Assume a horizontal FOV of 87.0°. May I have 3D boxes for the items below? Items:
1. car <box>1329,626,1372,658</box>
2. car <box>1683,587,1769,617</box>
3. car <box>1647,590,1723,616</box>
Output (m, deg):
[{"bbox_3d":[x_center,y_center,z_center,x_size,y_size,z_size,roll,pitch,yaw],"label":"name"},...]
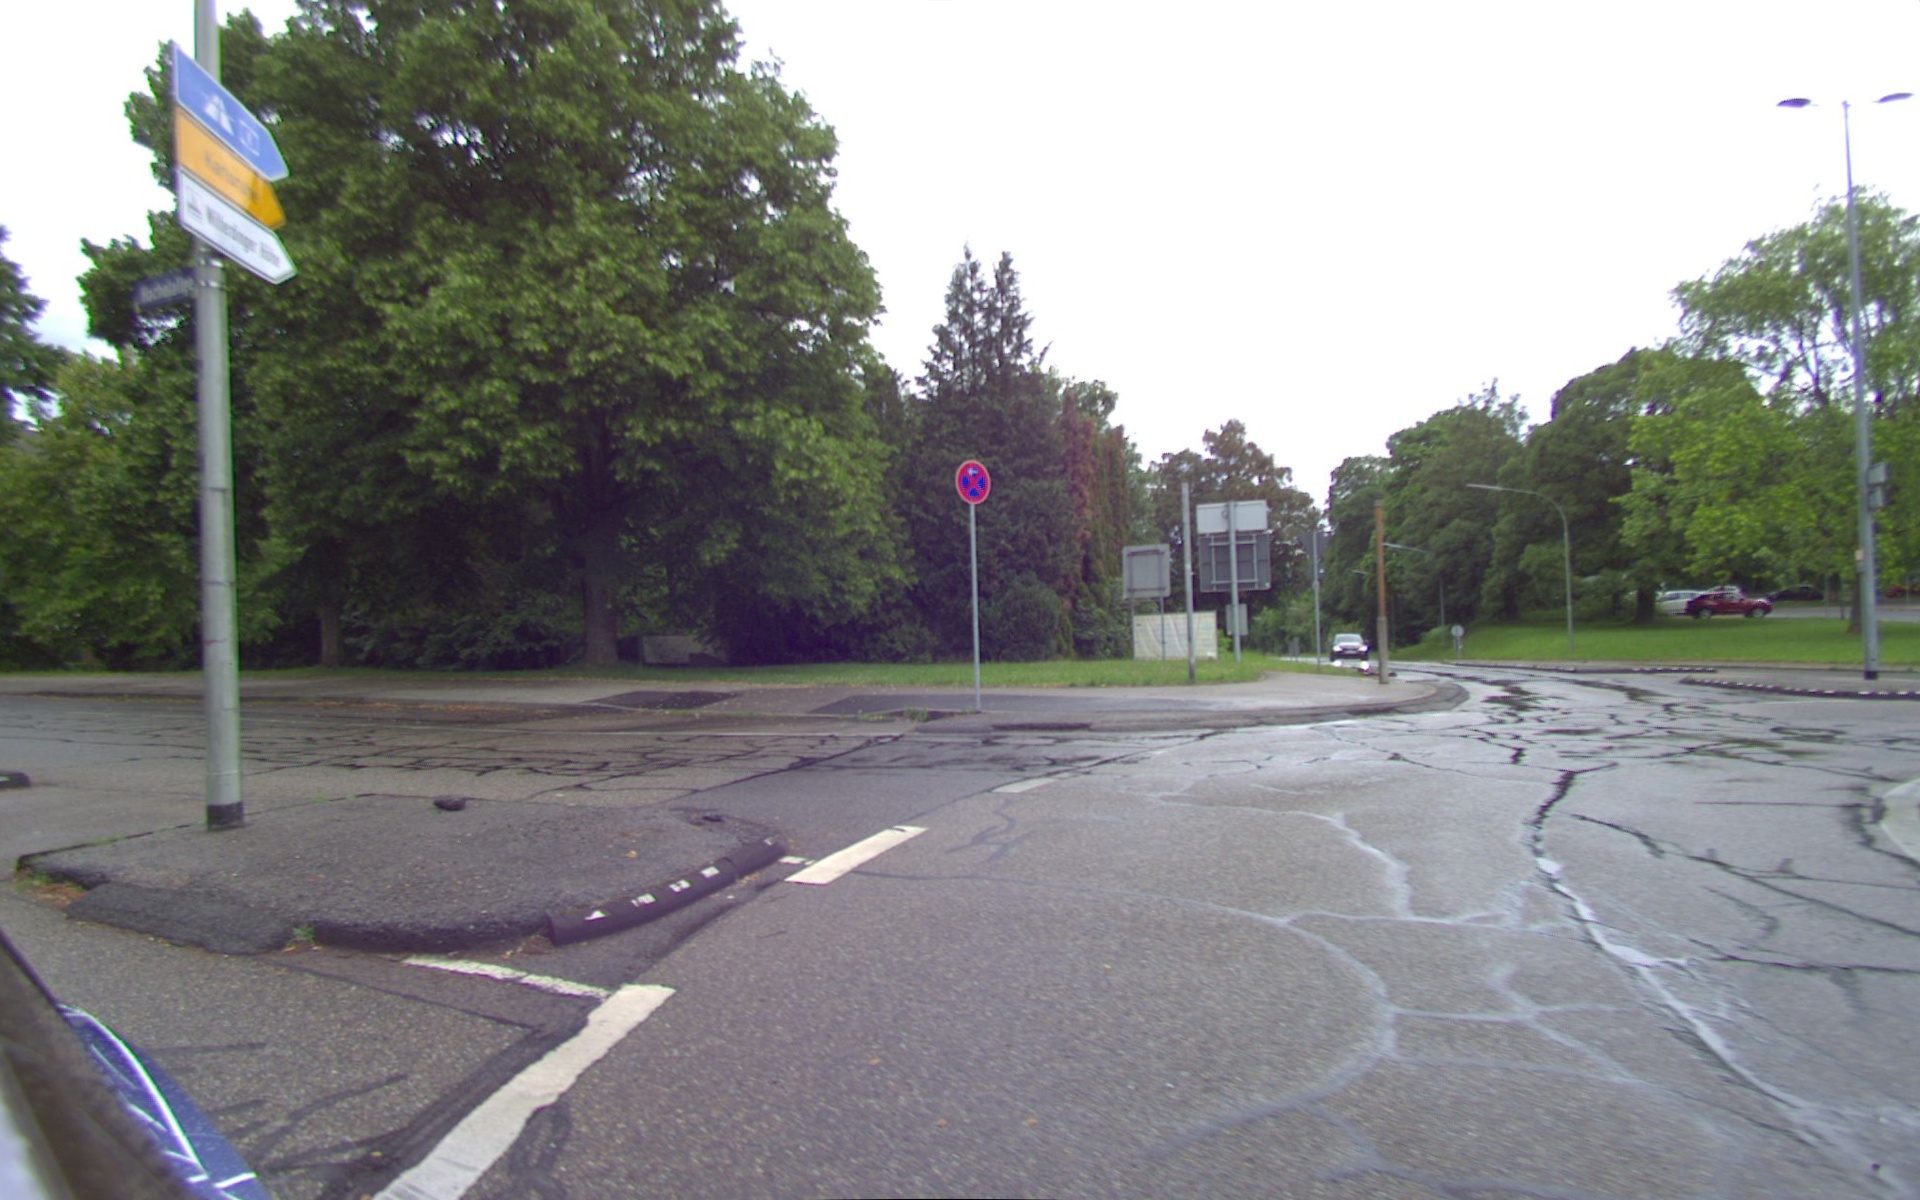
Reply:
[{"bbox_3d":[20.493,2.201,53.218,1.699,1.430,3.980,-1,1,16],"label":"car"},{"bbox_3d":[43.872,0.126,58.046,3.613,1.606,1.792,-1,1,24],"label":"car"},{"bbox_3d":[46.548,0.188,65.053,3.613,1.606,1.792,-1,1,24],"label":"car"}]
